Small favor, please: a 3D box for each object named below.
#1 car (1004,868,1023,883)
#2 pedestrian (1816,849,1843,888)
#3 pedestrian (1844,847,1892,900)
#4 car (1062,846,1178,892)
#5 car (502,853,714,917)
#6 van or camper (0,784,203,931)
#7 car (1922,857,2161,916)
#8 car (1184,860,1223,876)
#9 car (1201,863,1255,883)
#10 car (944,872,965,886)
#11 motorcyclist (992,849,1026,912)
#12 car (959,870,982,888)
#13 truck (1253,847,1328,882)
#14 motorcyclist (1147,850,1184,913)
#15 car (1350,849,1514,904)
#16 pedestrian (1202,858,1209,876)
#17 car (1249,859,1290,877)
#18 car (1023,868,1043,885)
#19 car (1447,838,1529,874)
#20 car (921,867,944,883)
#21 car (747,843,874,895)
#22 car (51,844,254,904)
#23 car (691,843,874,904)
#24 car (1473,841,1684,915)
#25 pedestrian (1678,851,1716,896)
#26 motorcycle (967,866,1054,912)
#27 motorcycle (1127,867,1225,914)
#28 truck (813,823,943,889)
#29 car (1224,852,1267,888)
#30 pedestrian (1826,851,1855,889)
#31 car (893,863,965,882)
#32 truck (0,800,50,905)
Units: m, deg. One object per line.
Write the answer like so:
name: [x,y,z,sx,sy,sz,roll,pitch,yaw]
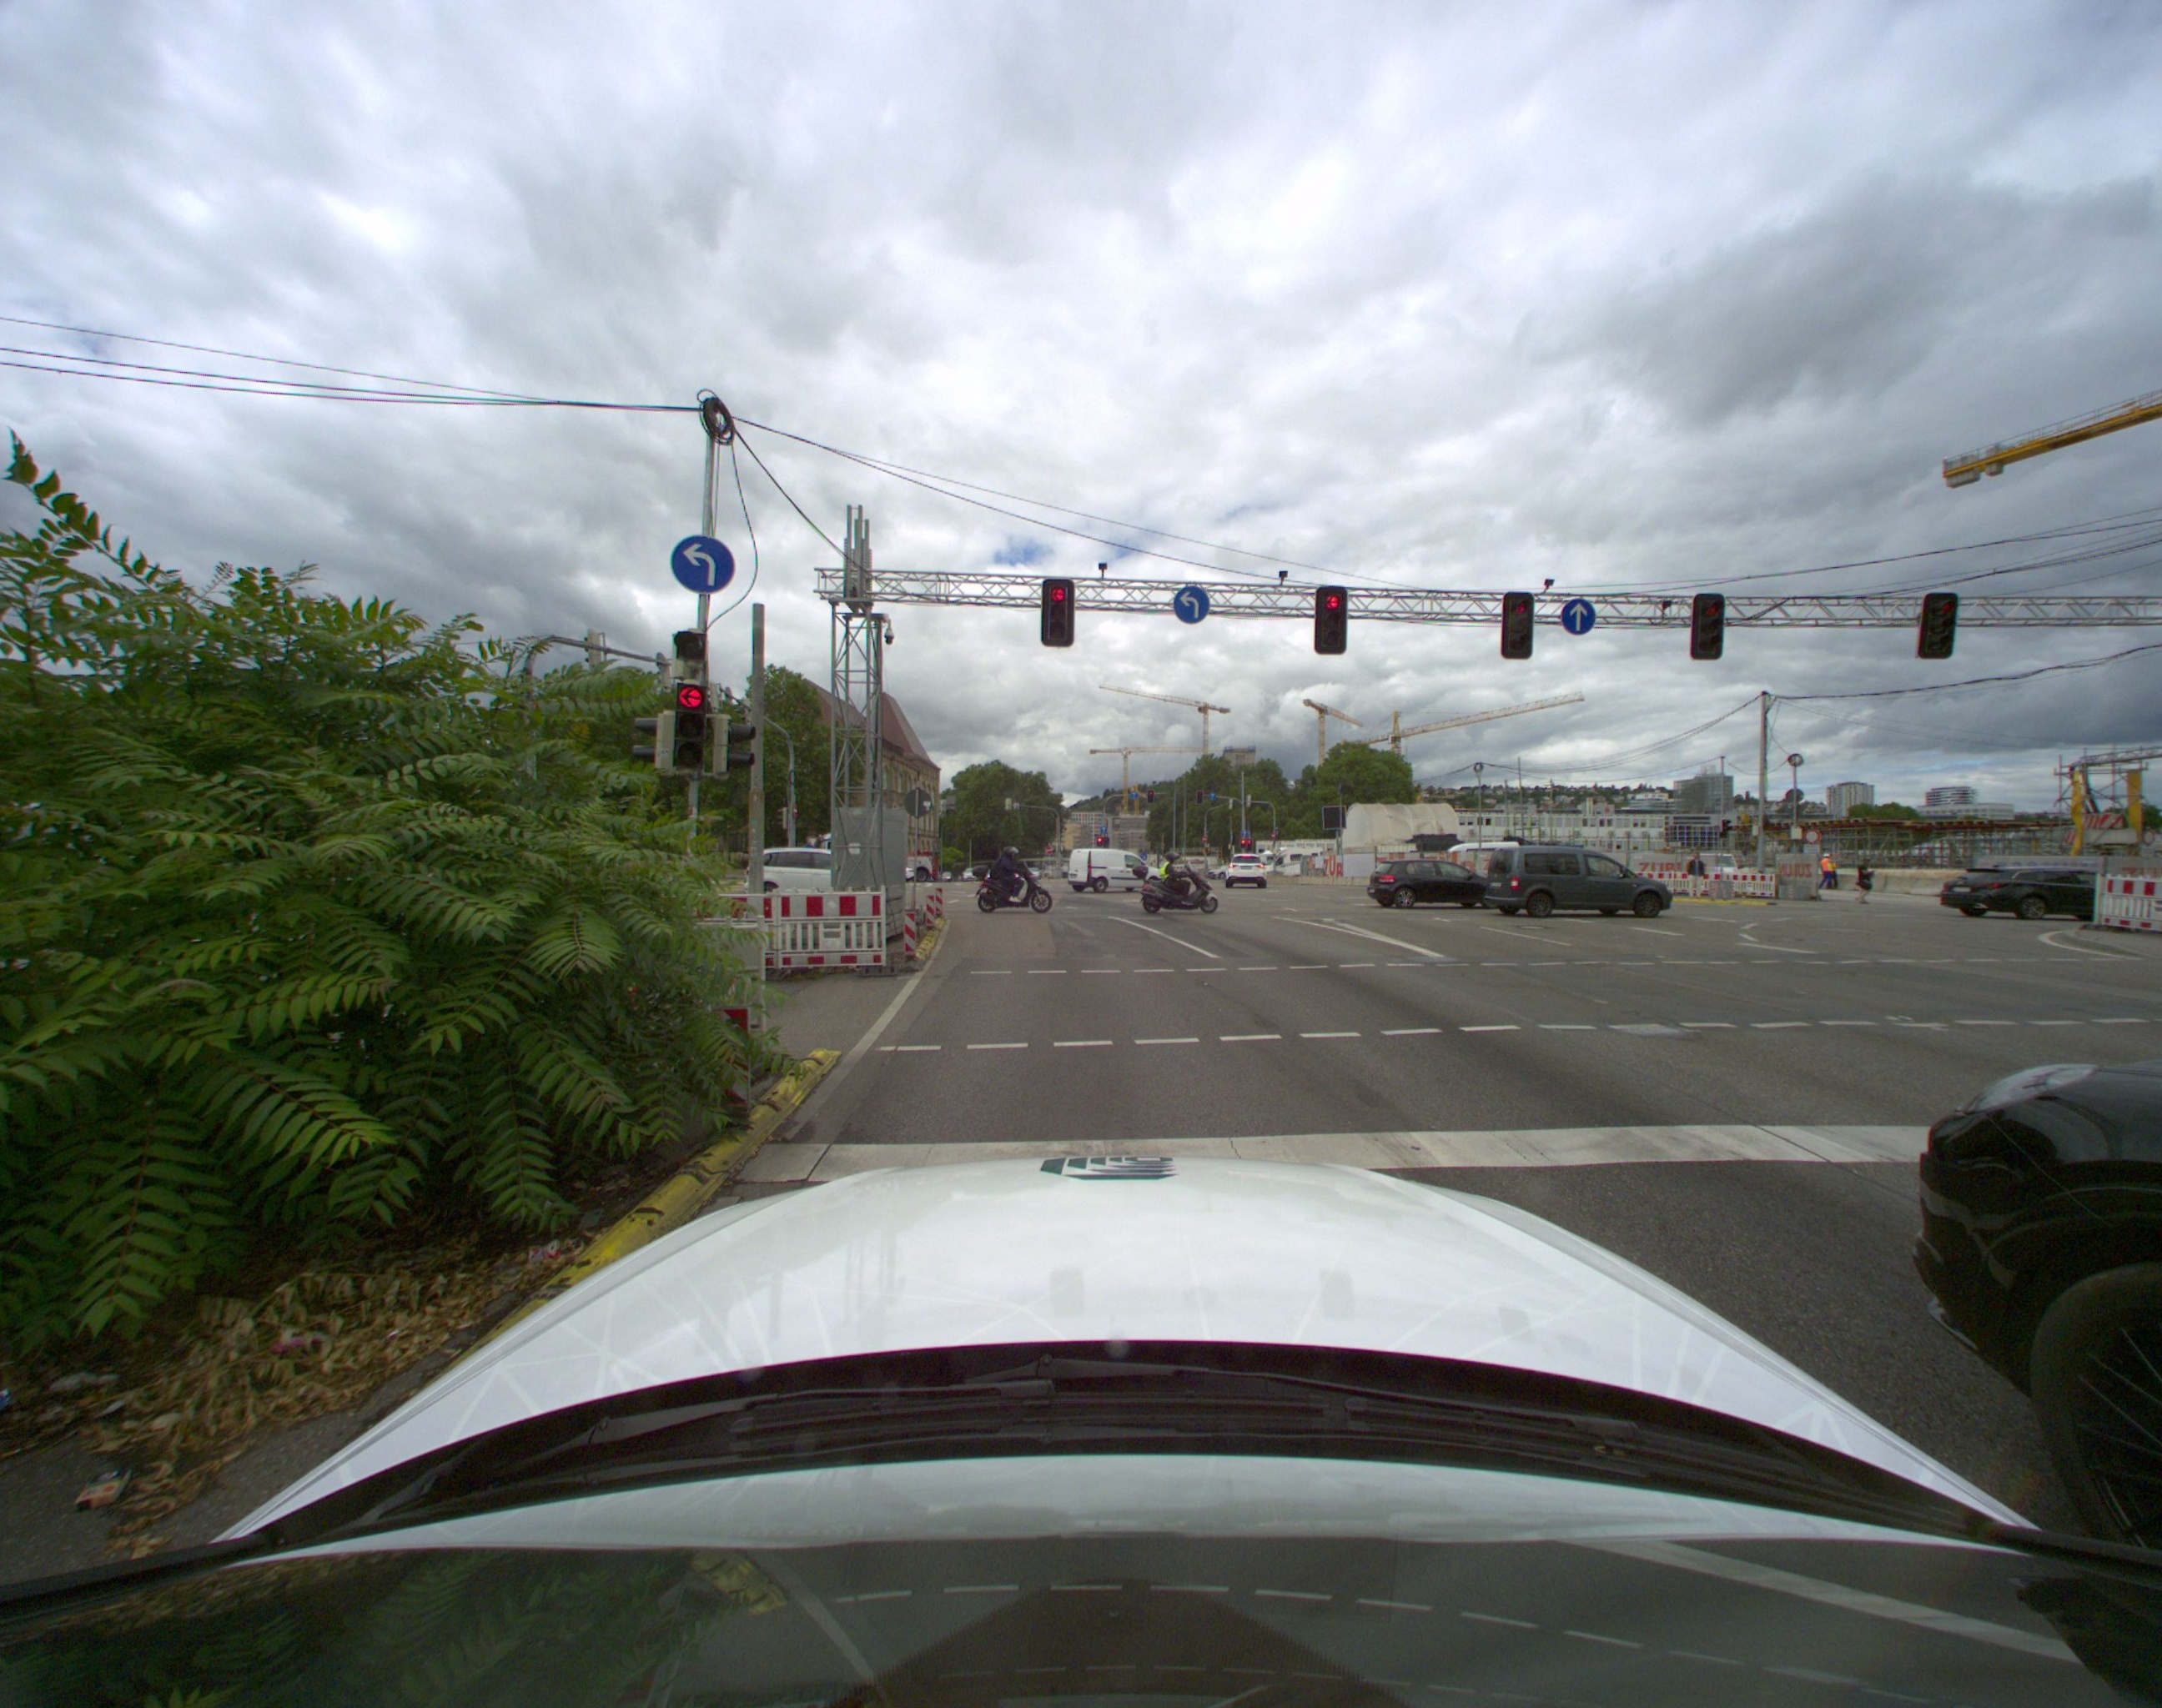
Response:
car: [-8.290,2.614,100.610,1.987,1.838,3.998,0,-1,-1]
pedestrian: [38.282,0.742,41.658,0.673,2.014,0.869,-1,-1,14]
pedestrian: [30.606,0.738,31.675,1.049,2.014,1.025,0,-1,-27]
car: [1.700,0.594,34.650,4.739,1.833,1.851,0,-1,-32]
car: [-12.134,0.778,21.123,4.281,1.540,1.999,0,-1,-1]
van or camper: [-21.108,0.075,16.074,6.026,2.610,2.166,0,0,10]
car: [26.199,0.842,21.984,4.455,1.466,2.009,-1,-1,17]
car: [13.759,1.565,91.891,2.011,1.838,3.951,0,-1,-43]
car: [13.830,1.727,76.612,4.585,1.774,1.985,1,1,-23]
car: [-16.639,3.266,107.358,1.985,1.838,4.003,0,-1,3]
motorcyclist: [-1.835,0.665,20.896,0.783,1.597,0.652,0,-1,2]
car: [-11.731,2.606,86.677,1.987,1.838,3.998,0,-1,-1]
truck: [19.399,0.904,75.366,6.607,3.146,2.350,0,-1,-22]
motorcyclist: [2.144,0.686,20.810,0.875,1.571,0.818,0,-1,2]
car: [10.535,0.657,24.642,4.096,1.547,1.998,0,-1,-2]
pedestrian: [12.435,1.304,81.331,0.583,1.840,0.604,0,-1,-2]
car: [20.232,1.482,87.549,3.951,1.838,2.011,-1,-1,24]
car: [-5.385,2.520,91.519,1.987,1.838,3.998,0,-1,-1]
car: [23.462,0.118,47.101,3.955,2.014,2.009,-1,-1,17]
car: [-17.323,2.441,95.011,1.987,1.838,3.998,0,-1,-1]
car: [-9.947,0.538,30.272,4.247,1.834,1.992,0,-1,-12]
car: [-28.771,0.603,25.355,3.975,1.740,1.909,1,-1,-1]
car: [-8.736,0.557,24.172,4.656,1.702,1.999,0,-1,-1]
car: [12.754,0.598,21.088,4.254,1.805,2.000,0,-1,1]
pedestrian: [25.707,0.809,34.013,1.035,1.848,0.794,-1,-1,17]
motorcycle: [-1.789,0.895,20.899,2.159,1.155,0.652,0,-1,2]
motorcycle: [2.396,0.909,20.800,2.413,1.155,0.818,0,-1,2]
truck: [-16.071,0.156,64.690,9.750,4.961,3.092,0,-1,-21]
car: [8.590,0.810,42.790,1.982,1.759,4.516,-1,-1,9]
pedestrian: [39.169,0.836,42.018,0.677,1.916,0.865,0,-1,-4]
car: [-11.716,1.398,62.759,5.153,1.419,2.221,0,-1,-22]
truck: [-30.017,-0.036,20.461,4.203,2.725,2.854,0,-1,-9]
